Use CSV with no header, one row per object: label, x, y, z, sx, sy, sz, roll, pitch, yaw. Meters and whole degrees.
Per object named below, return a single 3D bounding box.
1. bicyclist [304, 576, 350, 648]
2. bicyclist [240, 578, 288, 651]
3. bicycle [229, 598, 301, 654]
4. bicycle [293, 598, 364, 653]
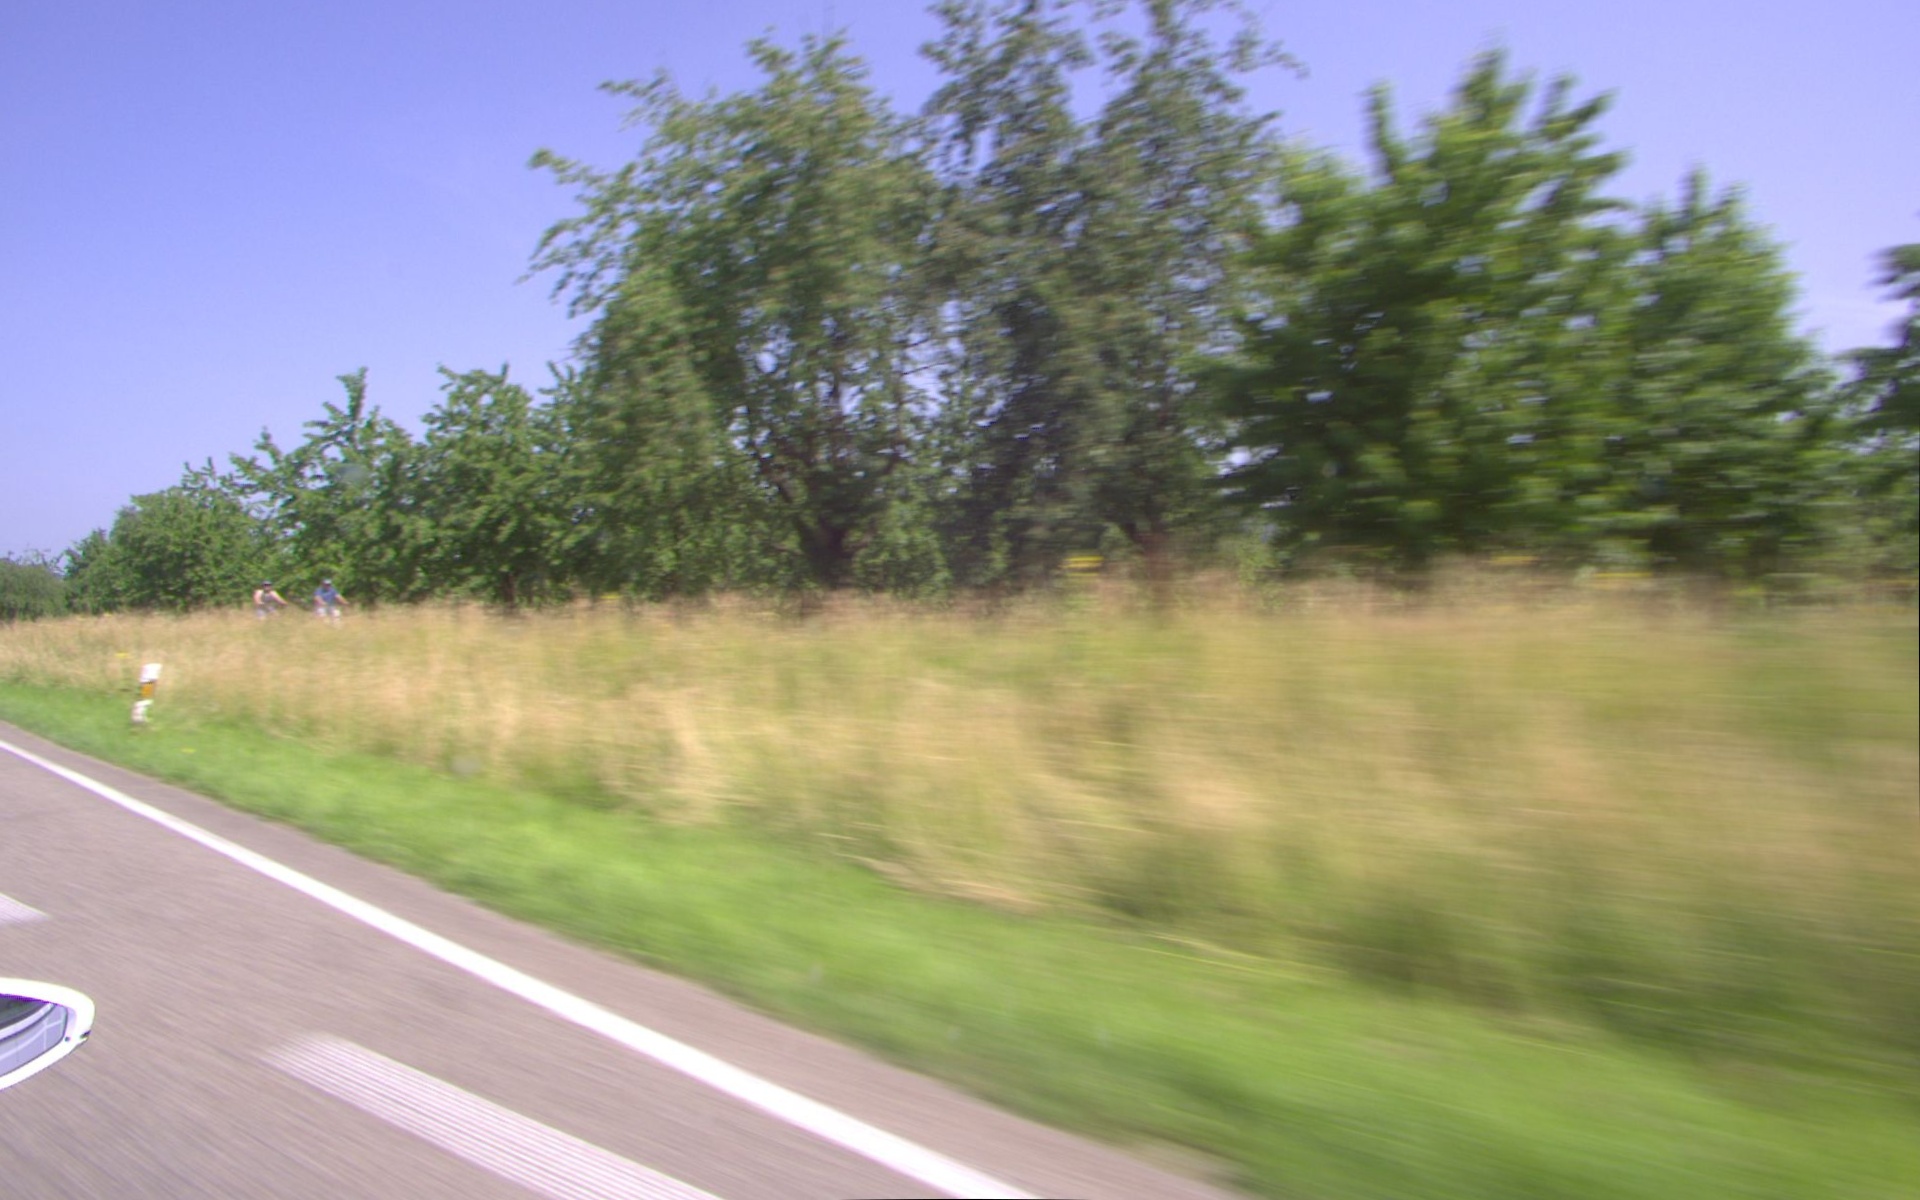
bicyclist,-17.466,0.321,27.640,0.816,1.956,0.748,0,2,32
bicyclist,-18.587,0.376,26.746,0.856,1.892,0.748,0,2,32
bicycle,-18.569,0.691,26.738,2.189,1.437,0.748,0,1,32
bicycle,-17.451,0.689,27.646,2.189,1.437,0.748,0,1,32
